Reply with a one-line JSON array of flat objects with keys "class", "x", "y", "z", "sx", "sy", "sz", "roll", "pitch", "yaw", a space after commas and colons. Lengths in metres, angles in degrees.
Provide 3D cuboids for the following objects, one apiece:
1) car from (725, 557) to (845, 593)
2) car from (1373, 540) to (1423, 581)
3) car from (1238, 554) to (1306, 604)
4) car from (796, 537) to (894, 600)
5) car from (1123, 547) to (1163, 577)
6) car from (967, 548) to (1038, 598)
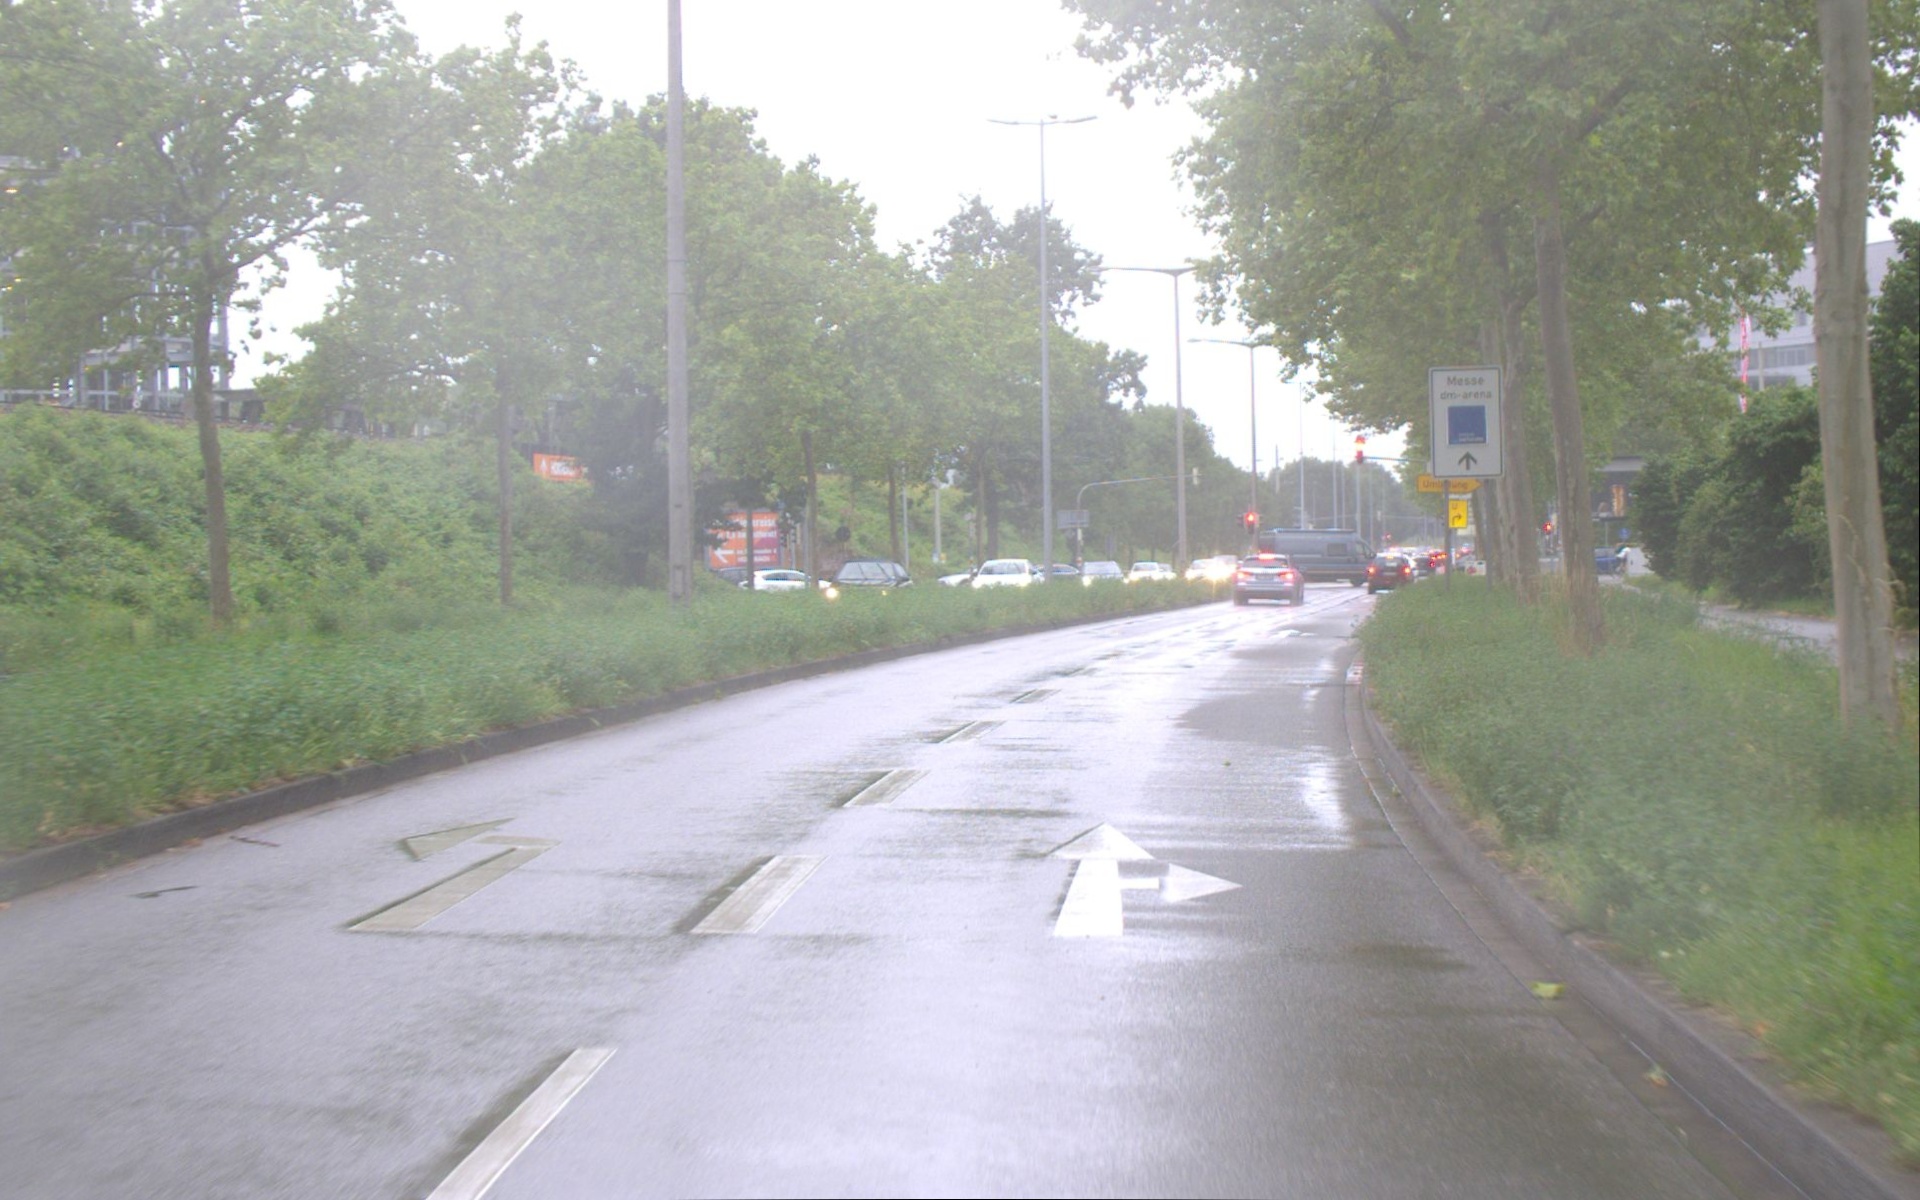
[{"class": "car", "x": -7.092, "y": -1.018, "z": 139.061, "sx": 4.641, "sy": 1.440, "sz": 1.938, "roll": 0, "pitch": 1, "yaw": -9}, {"class": "car", "x": 16.966, "y": -1.517, "z": 133.056, "sx": 1.797, "sy": 1.532, "sz": 4.386, "roll": 1, "pitch": 1, "yaw": 9}, {"class": "car", "x": 9.009, "y": -0.611, "z": 99.069, "sx": 1.690, "sy": 1.428, "sz": 4.572, "roll": 0, "pitch": 1, "yaw": 9}, {"class": "car", "x": -2.631, "y": -0.742, "z": 79.243, "sx": 1.632, "sy": 1.421, "sz": 3.999, "roll": 0, "pitch": 1, "yaw": 7}, {"class": "car", "x": 9.692, "y": -2.012, "z": 181.586, "sx": 1.713, "sy": 1.525, "sz": 3.999, "roll": -1, "pitch": 1, "yaw": 9}, {"class": "car", "x": 1.328, "y": -0.840, "z": 105.721, "sx": 1.702, "sy": 1.489, "sz": 4.203, "roll": 0, "pitch": 1, "yaw": 7}]
